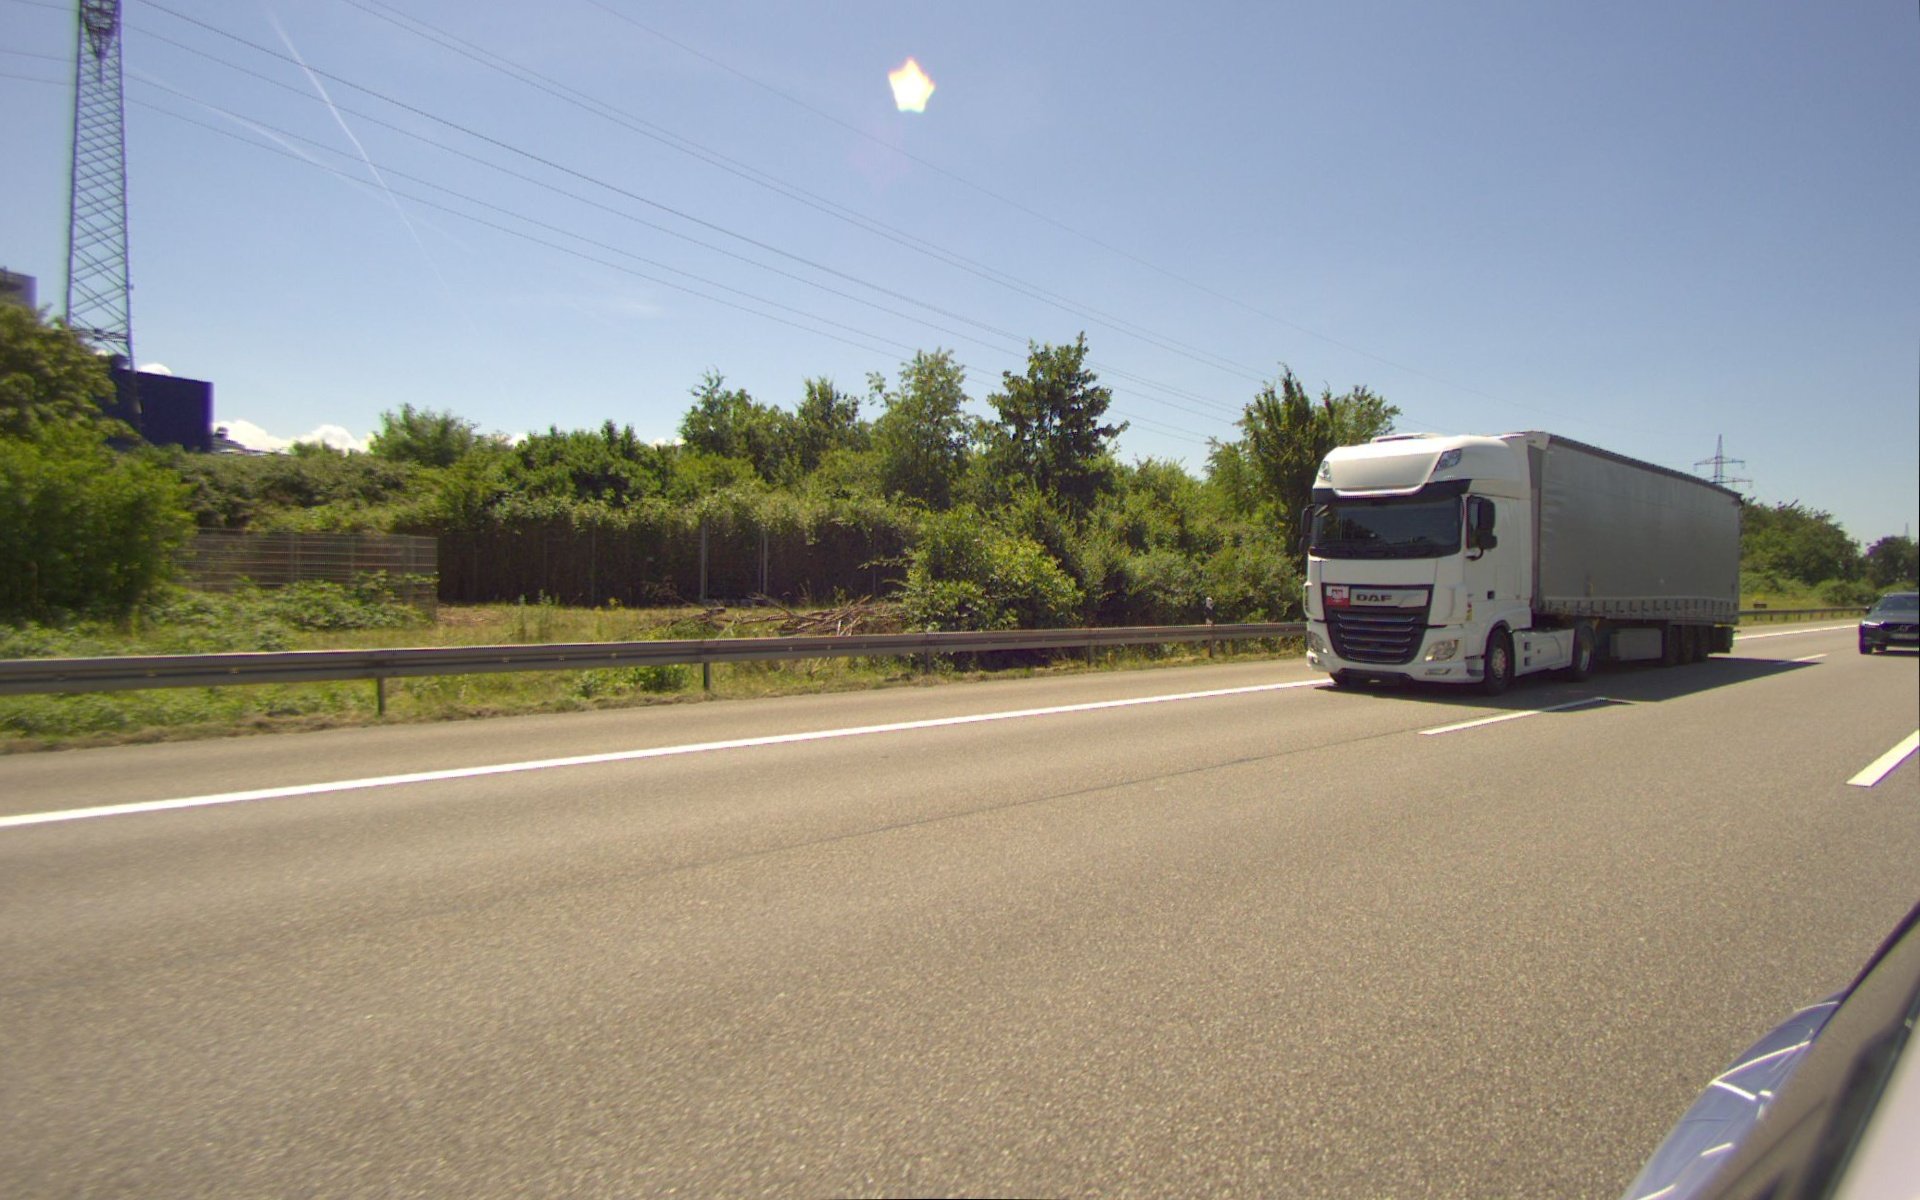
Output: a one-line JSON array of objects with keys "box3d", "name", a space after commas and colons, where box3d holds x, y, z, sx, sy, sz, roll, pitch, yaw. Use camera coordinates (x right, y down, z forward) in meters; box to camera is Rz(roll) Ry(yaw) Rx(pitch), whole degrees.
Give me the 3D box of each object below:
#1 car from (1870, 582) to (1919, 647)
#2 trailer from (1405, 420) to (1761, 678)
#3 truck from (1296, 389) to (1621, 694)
[{"box3d": [25.676, 0.359, 26.807, 3.934, 1.643, 1.877, 0, 1, -41], "name": "car"}, {"box3d": [13.823, -0.876, 21.549, 12.893, 4.158, 2.741, 0, 1, -41], "name": "trailer"}, {"box3d": [8.443, -0.837, 16.845, 6.018, 4.171, 2.741, 0, 1, -41], "name": "truck"}]
